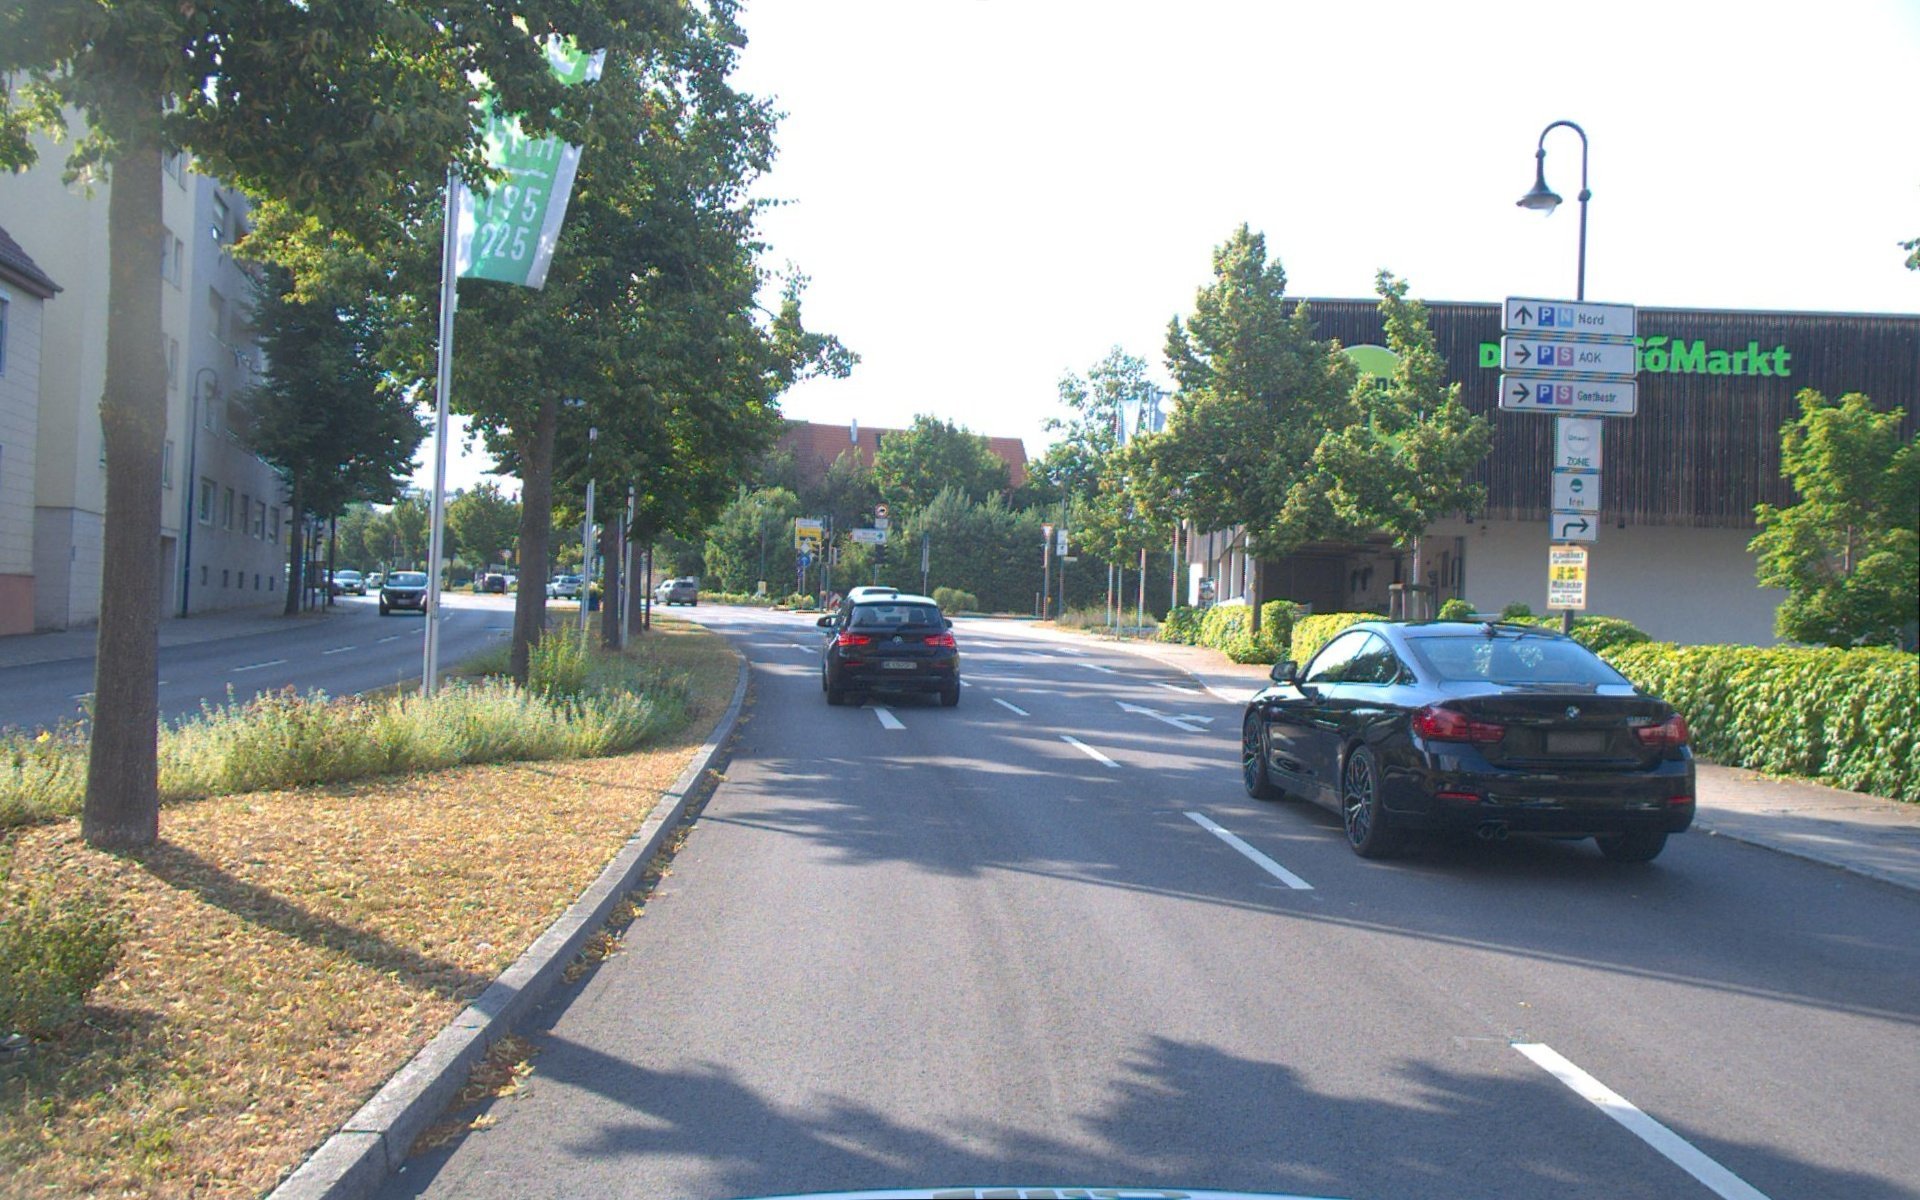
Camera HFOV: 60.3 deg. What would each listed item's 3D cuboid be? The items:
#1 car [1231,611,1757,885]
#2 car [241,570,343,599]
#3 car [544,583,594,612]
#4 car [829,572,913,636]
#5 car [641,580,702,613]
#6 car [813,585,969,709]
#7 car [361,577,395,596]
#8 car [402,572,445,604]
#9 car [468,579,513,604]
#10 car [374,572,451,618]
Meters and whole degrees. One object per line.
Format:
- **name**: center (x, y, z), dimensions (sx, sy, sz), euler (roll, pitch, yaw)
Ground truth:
- **car**: center (3.175, 0.799, 10.879), dimensions (1.882, 1.388, 4.350), euler (1, 0, -3)
- **car**: center (-34.958, -0.807, 86.655), dimensions (4.784, 1.462, 1.907), euler (1, 0, -19)
- **car**: center (-25.681, -0.173, 108.542), dimensions (2.230, 1.703, 4.550), euler (4, 0, -26)
- **car**: center (-2.723, 0.100, 49.597), dimensions (1.891, 1.800, 4.442), euler (1, 0, -11)
- **car**: center (-16.821, -0.204, 96.298), dimensions (2.230, 1.703, 4.550), euler (4, 0, -26)
- **car**: center (-1.052, 0.585, 22.993), dimensions (1.689, 1.516, 4.345), euler (2, 0, -8)
- **car**: center (-55.696, -1.293, 158.343), dimensions (2.195, 1.800, 4.407), euler (1, 0, -31)
- **car**: center (-26.725, -0.606, 82.421), dimensions (1.577, 1.512, 3.774), euler (1, 0, -11)
- **car**: center (-35.353, -0.652, 124.498), dimensions (2.195, 1.800, 4.407), euler (1, 0, -31)
- **car**: center (-20.410, -0.188, 61.811), dimensions (1.904, 1.512, 4.316), euler (4, 0, -9)
